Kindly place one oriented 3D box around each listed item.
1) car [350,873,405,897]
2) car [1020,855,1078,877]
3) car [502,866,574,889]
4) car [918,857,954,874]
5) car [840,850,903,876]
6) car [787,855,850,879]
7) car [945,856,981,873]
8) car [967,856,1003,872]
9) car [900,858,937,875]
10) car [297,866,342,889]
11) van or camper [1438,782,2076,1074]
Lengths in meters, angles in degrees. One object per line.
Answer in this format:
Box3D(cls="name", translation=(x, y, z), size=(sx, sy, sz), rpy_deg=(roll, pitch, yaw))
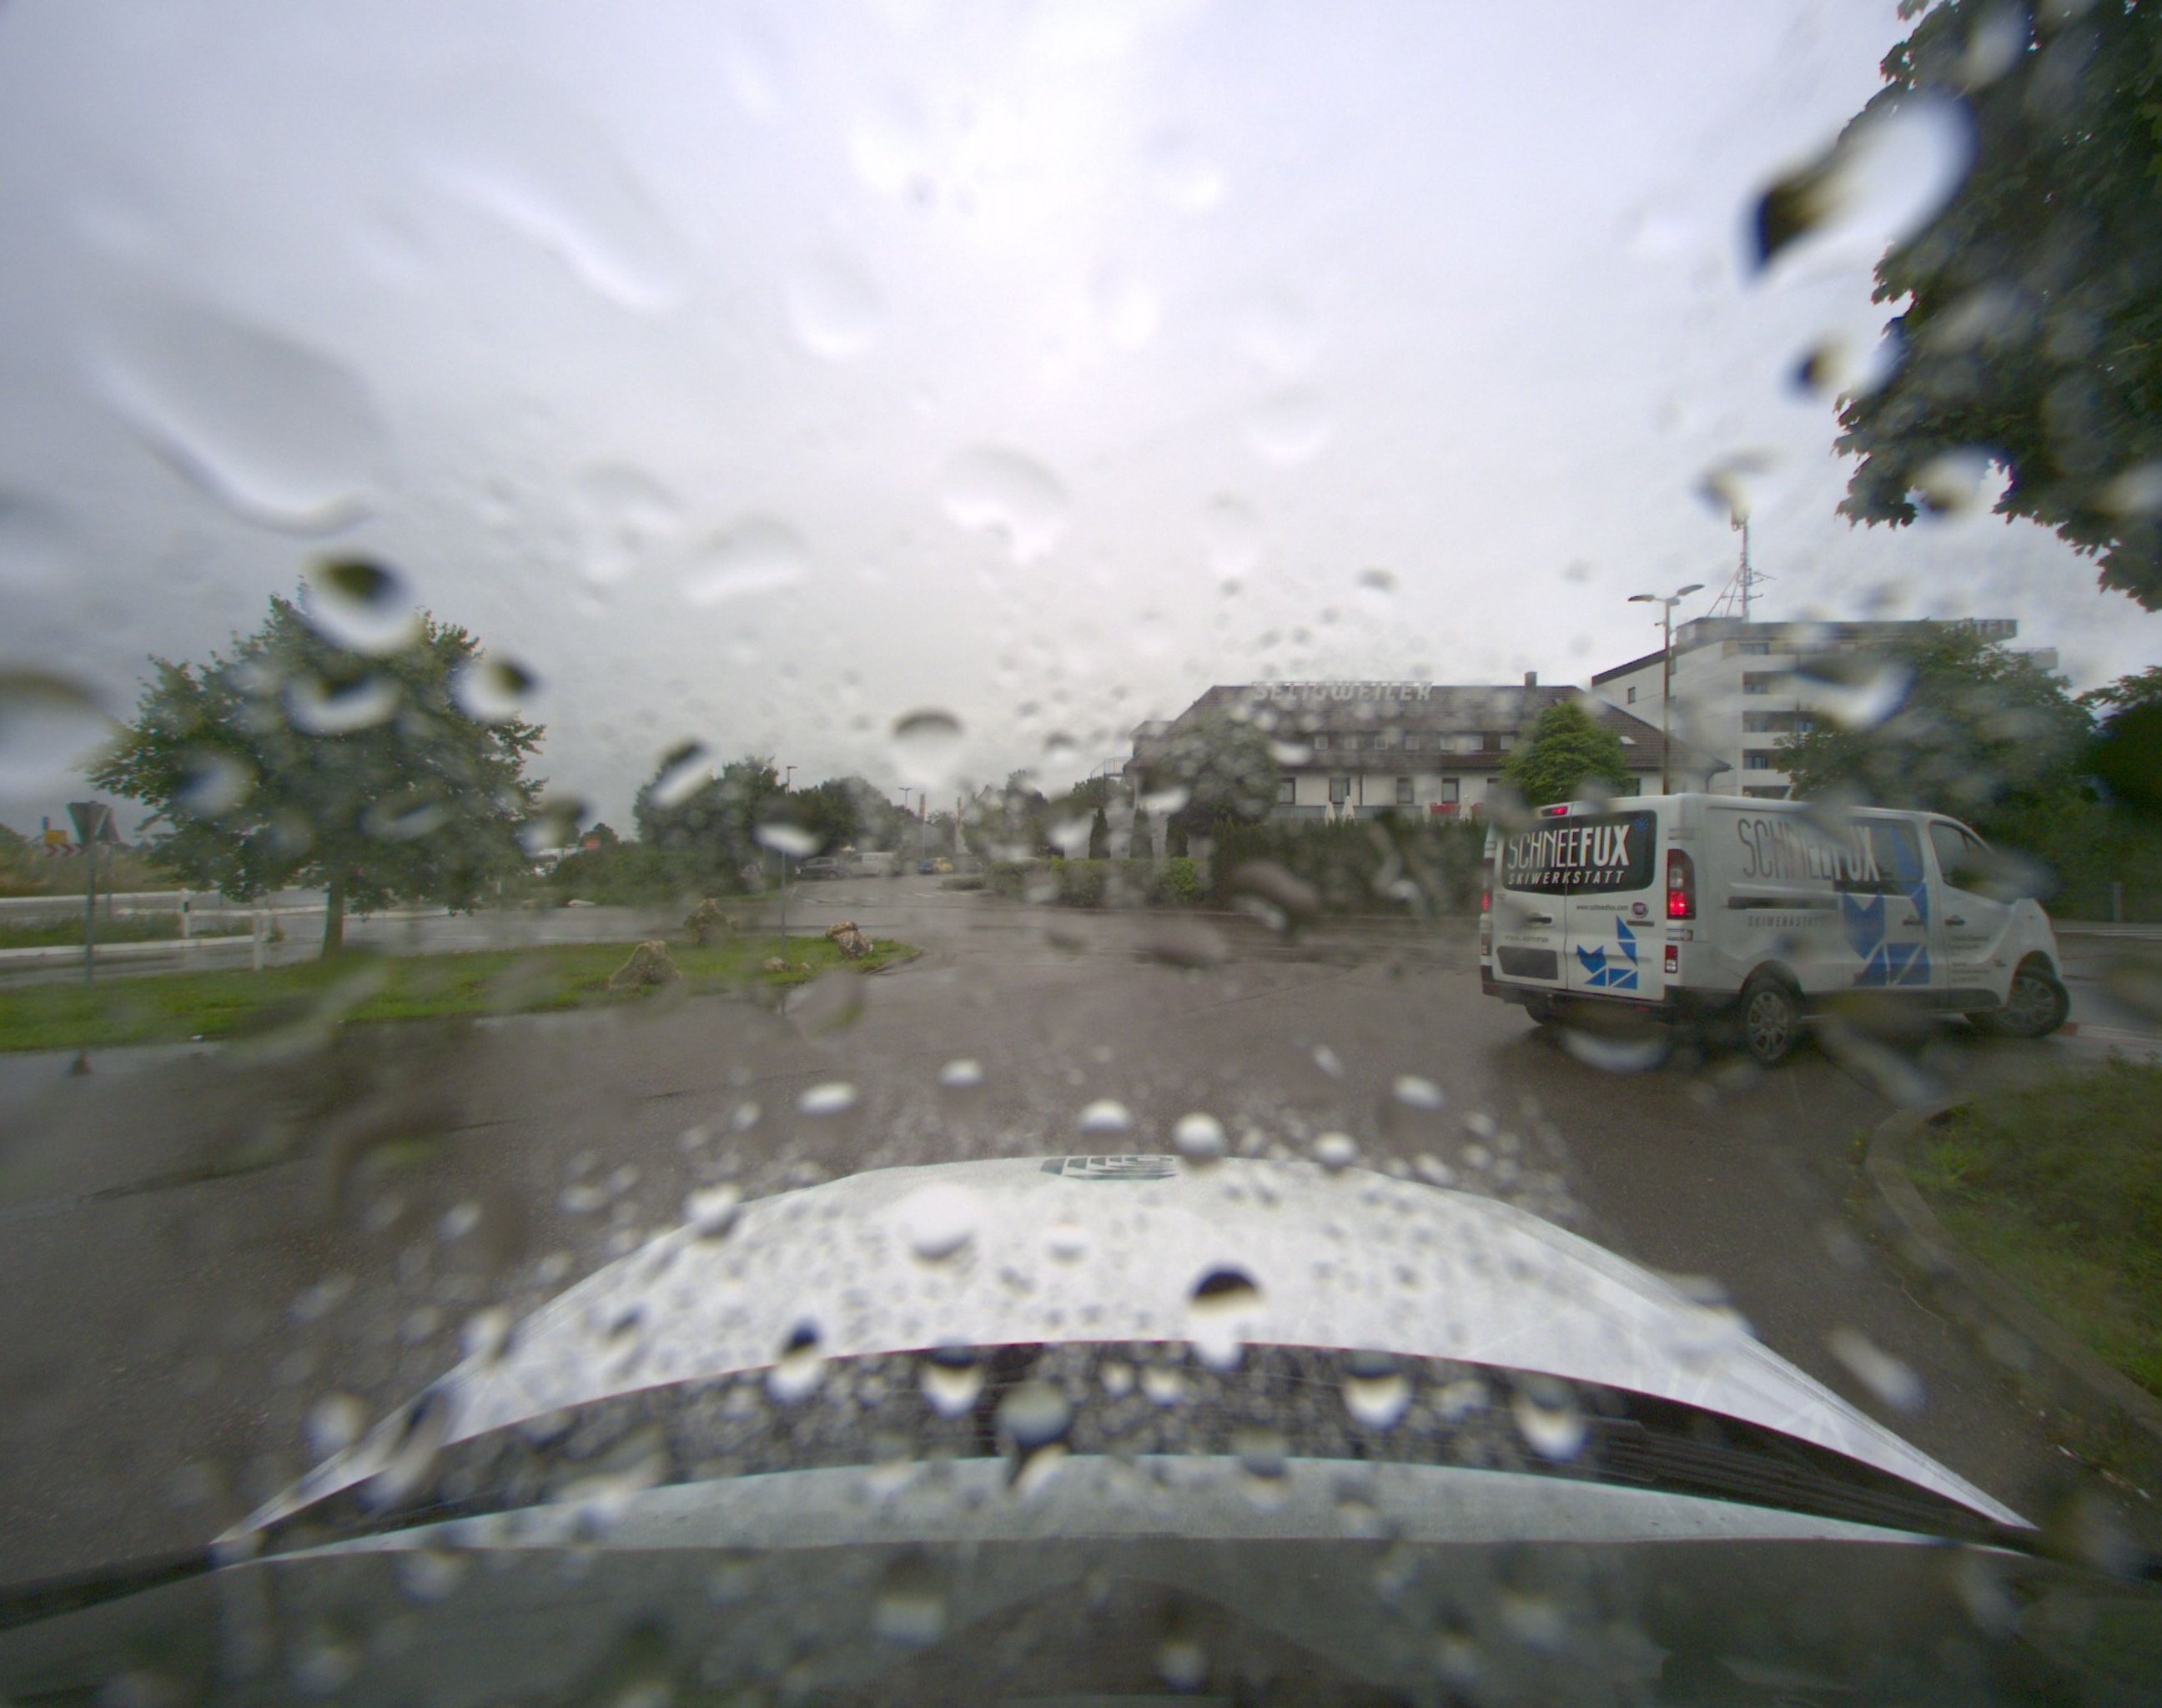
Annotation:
Box3D(cls="car", translation=(-43.552, 1.898, 50.377), size=(3.991, 1.326, 1.705), rpy_deg=(-1, 0, 36))
Box3D(cls="car", translation=(-2.333, 0.864, 60.603), size=(4.159, 1.497, 1.719), rpy_deg=(-1, 0, 2))
Box3D(cls="car", translation=(-43.024, 1.845, 64.597), size=(1.726, 1.758, 4.394), rpy_deg=(-1, -1, 34))
Box3D(cls="car", translation=(-13.391, 1.033, 75.117), size=(1.594, 1.458, 3.635), rpy_deg=(-1, 0, -43))
Box3D(cls="car", translation=(-16.787, 0.695, 65.362), size=(4.502, 2.033, 1.646), rpy_deg=(-1, 0, 3))
Box3D(cls="car", translation=(-17.824, 0.895, 55.395), size=(3.717, 1.551, 1.452), rpy_deg=(-1, 0, 2))
Box3D(cls="car", translation=(-11.140, 0.989, 76.728), size=(1.594, 1.458, 3.635), rpy_deg=(-1, 0, -43))
Box3D(cls="car", translation=(-9.230, 0.956, 78.287), size=(1.594, 1.458, 3.635), rpy_deg=(-1, 0, -43))
Box3D(cls="car", translation=(-14.587, 1.088, 72.861), size=(1.565, 1.458, 3.635), rpy_deg=(-1, 0, -43))
Box3D(cls="car", translation=(-52.521, 1.583, 56.160), size=(3.537, 1.508, 1.419), rpy_deg=(-1, 0, 32))
Box3D(cls="van or camper", translation=(6.079, 0.566, 7.387), size=(5.198, 1.945, 2.179), rpy_deg=(1, -2, -21))
